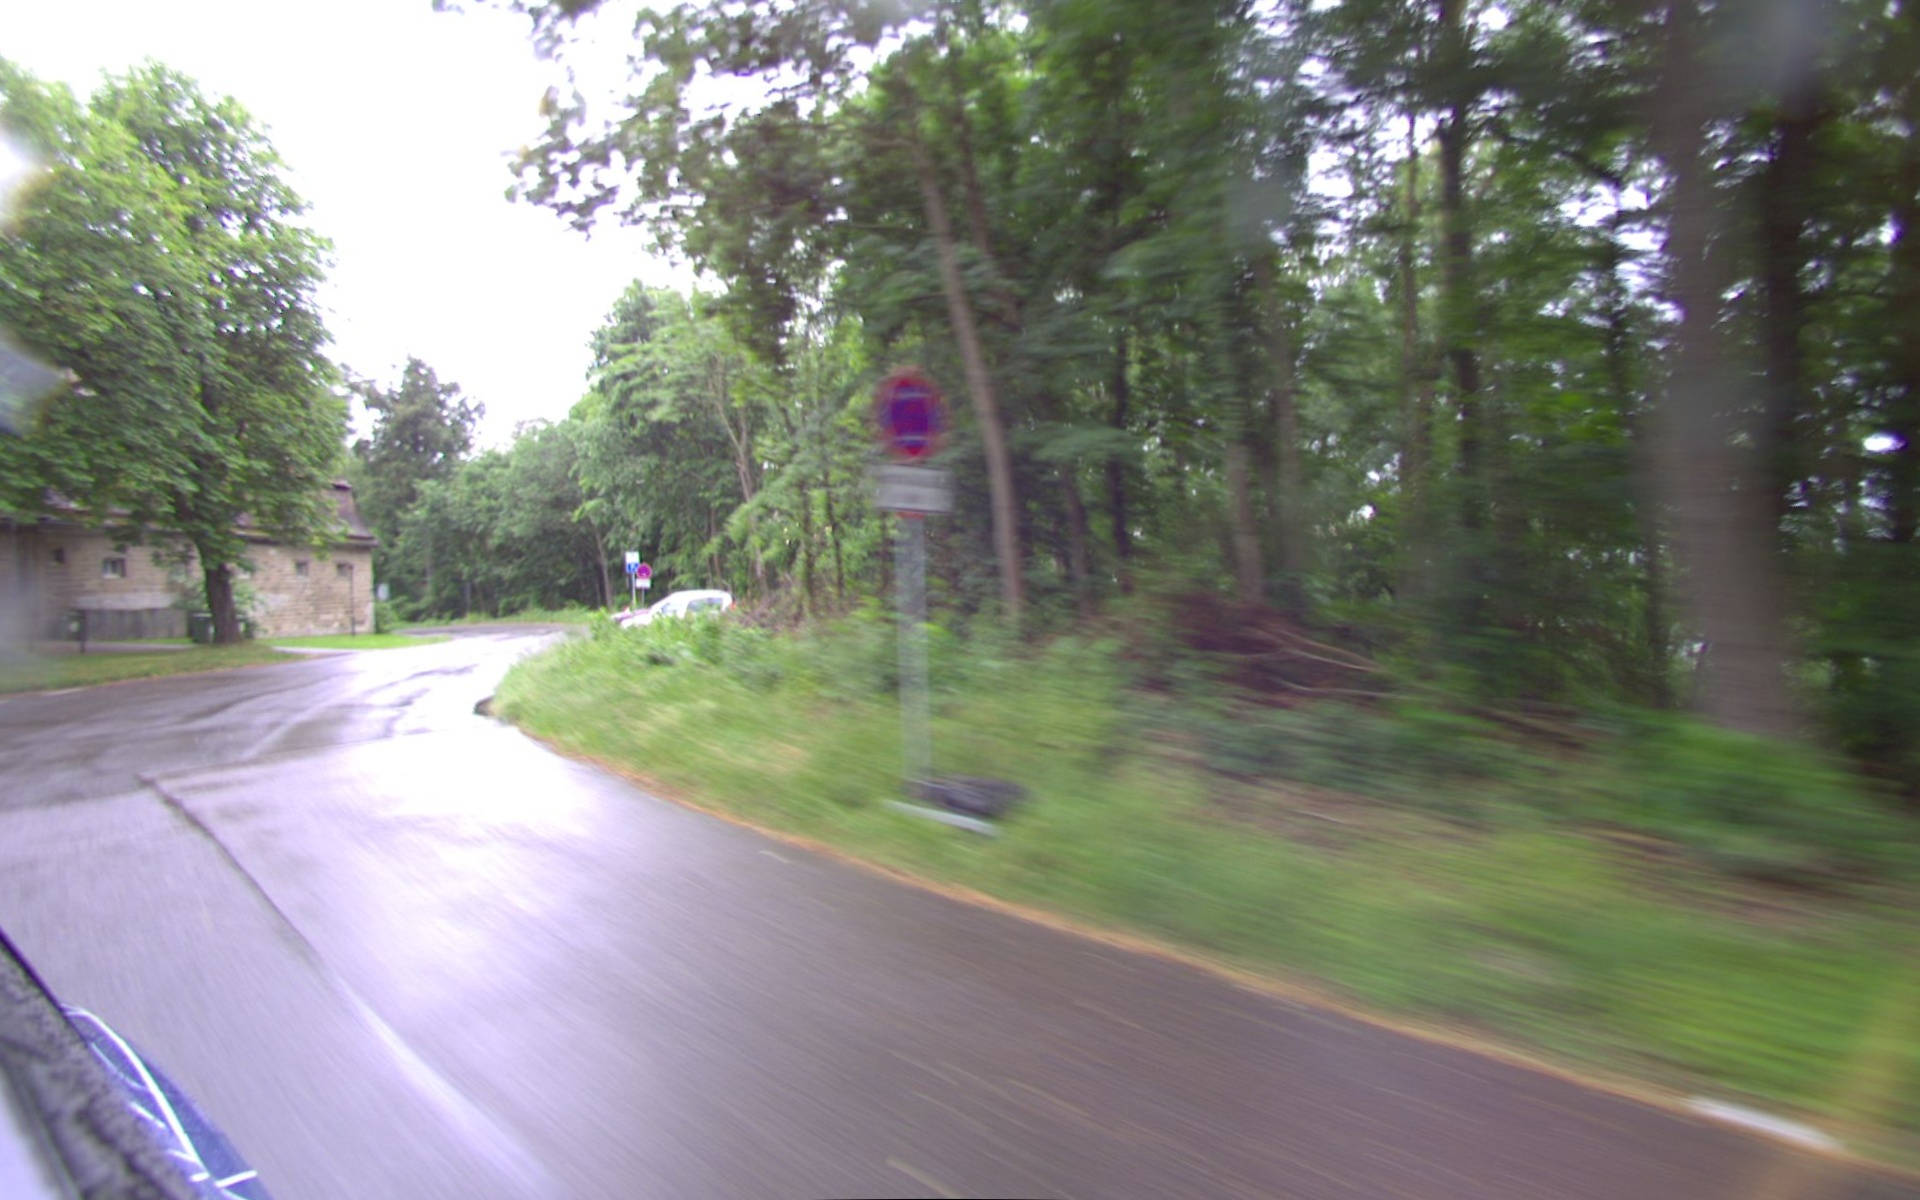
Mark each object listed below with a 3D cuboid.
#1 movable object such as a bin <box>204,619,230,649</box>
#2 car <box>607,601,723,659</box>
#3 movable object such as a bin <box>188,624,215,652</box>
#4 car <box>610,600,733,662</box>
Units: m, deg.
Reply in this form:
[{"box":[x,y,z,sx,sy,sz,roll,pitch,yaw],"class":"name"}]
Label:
[{"box":[-27.153,1.229,36.990,0.621,1.083,0.763,-1,-1,-25],"class":"movable object such as a bin"},{"box":[-10.950,1.141,37.838,3.935,2.029,2.004,1,-3,-10],"class":"car"},{"box":[-26.994,1.354,36.010,0.621,0.961,0.763,-1,-1,-25],"class":"movable object such as a bin"},{"box":[-9.935,1.102,35.149,3.935,2.029,2.004,1,-3,-10],"class":"car"}]
